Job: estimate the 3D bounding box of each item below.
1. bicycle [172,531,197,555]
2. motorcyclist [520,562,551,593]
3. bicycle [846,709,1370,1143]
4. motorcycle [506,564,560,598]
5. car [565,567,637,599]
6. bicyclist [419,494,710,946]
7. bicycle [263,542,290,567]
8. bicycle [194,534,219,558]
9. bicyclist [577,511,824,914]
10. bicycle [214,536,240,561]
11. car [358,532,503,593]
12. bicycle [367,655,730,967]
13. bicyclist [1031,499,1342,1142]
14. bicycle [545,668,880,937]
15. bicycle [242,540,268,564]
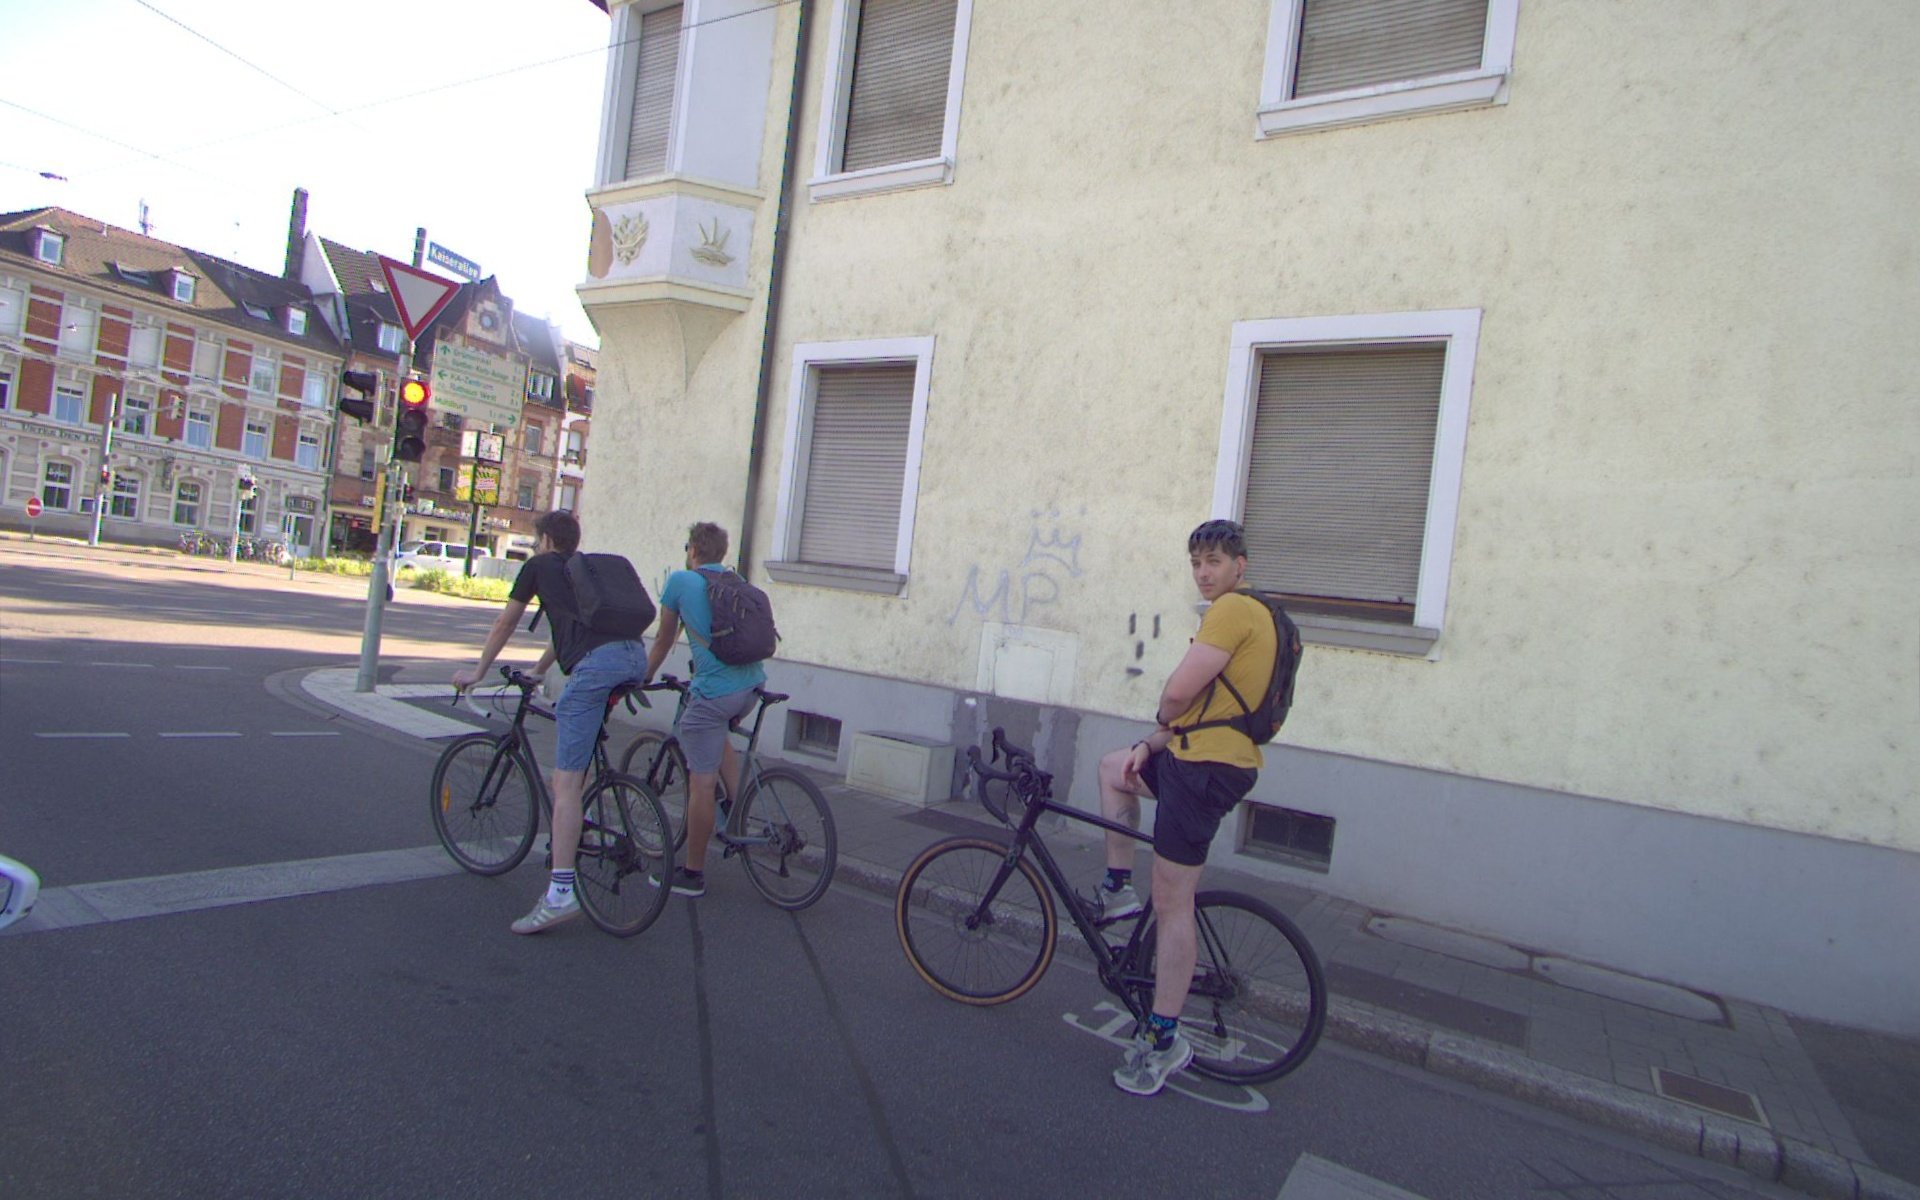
[{"bbox_3d":[-35.369,-2.609,45.873,0.762,0.974,2.186,8,-2,-39],"label":"bicycle"},{"bbox_3d":[-20.451,-1.095,48.477,0.777,1.315,1.015,6,-2,36],"label":"motorcyclist"},{"bbox_3d":[0.566,1.123,3.894,1.709,1.119,0.783,7,-1,18],"label":"bicycle"},{"bbox_3d":[-20.530,-0.905,48.396,0.784,1.349,2.137,6,-2,36],"label":"motorcycle"},{"bbox_3d":[-23.198,-1.098,65.079,1.842,1.454,3.985,6,-2,35],"label":"car"},{"bbox_3d":[-1.777,0.483,4.526,0.920,1.787,0.590,6,-1,32],"label":"bicyclist"},{"bbox_3d":[-33.020,-2.202,48.609,0.789,1.027,2.186,8,-2,-39],"label":"bicycle"},{"bbox_3d":[-34.767,-2.508,46.397,0.762,0.979,2.186,8,-2,-39],"label":"bicycle"},{"bbox_3d":[-1.347,0.532,5.210,0.960,1.868,0.504,6,-1,32],"label":"bicyclist"},{"bbox_3d":[-34.271,-2.417,47.019,0.762,0.995,2.186,8,-2,-39],"label":"bicycle"},{"bbox_3d":[-23.184,-1.594,44.274,1.967,1.876,5.208,7,-1,32],"label":"car"},{"bbox_3d":[-1.908,0.863,4.552,1.753,1.003,0.482,6,-1,32],"label":"bicycle"},{"bbox_3d":[0.845,0.714,3.689,0.763,1.990,0.783,7,0,18],"label":"bicyclist"},{"bbox_3d":[-1.323,0.969,5.219,1.753,0.995,0.504,6,-1,32],"label":"bicycle"},{"bbox_3d":[-33.615,-2.306,47.958,0.762,1.019,2.196,8,-2,-39],"label":"bicycle"}]
